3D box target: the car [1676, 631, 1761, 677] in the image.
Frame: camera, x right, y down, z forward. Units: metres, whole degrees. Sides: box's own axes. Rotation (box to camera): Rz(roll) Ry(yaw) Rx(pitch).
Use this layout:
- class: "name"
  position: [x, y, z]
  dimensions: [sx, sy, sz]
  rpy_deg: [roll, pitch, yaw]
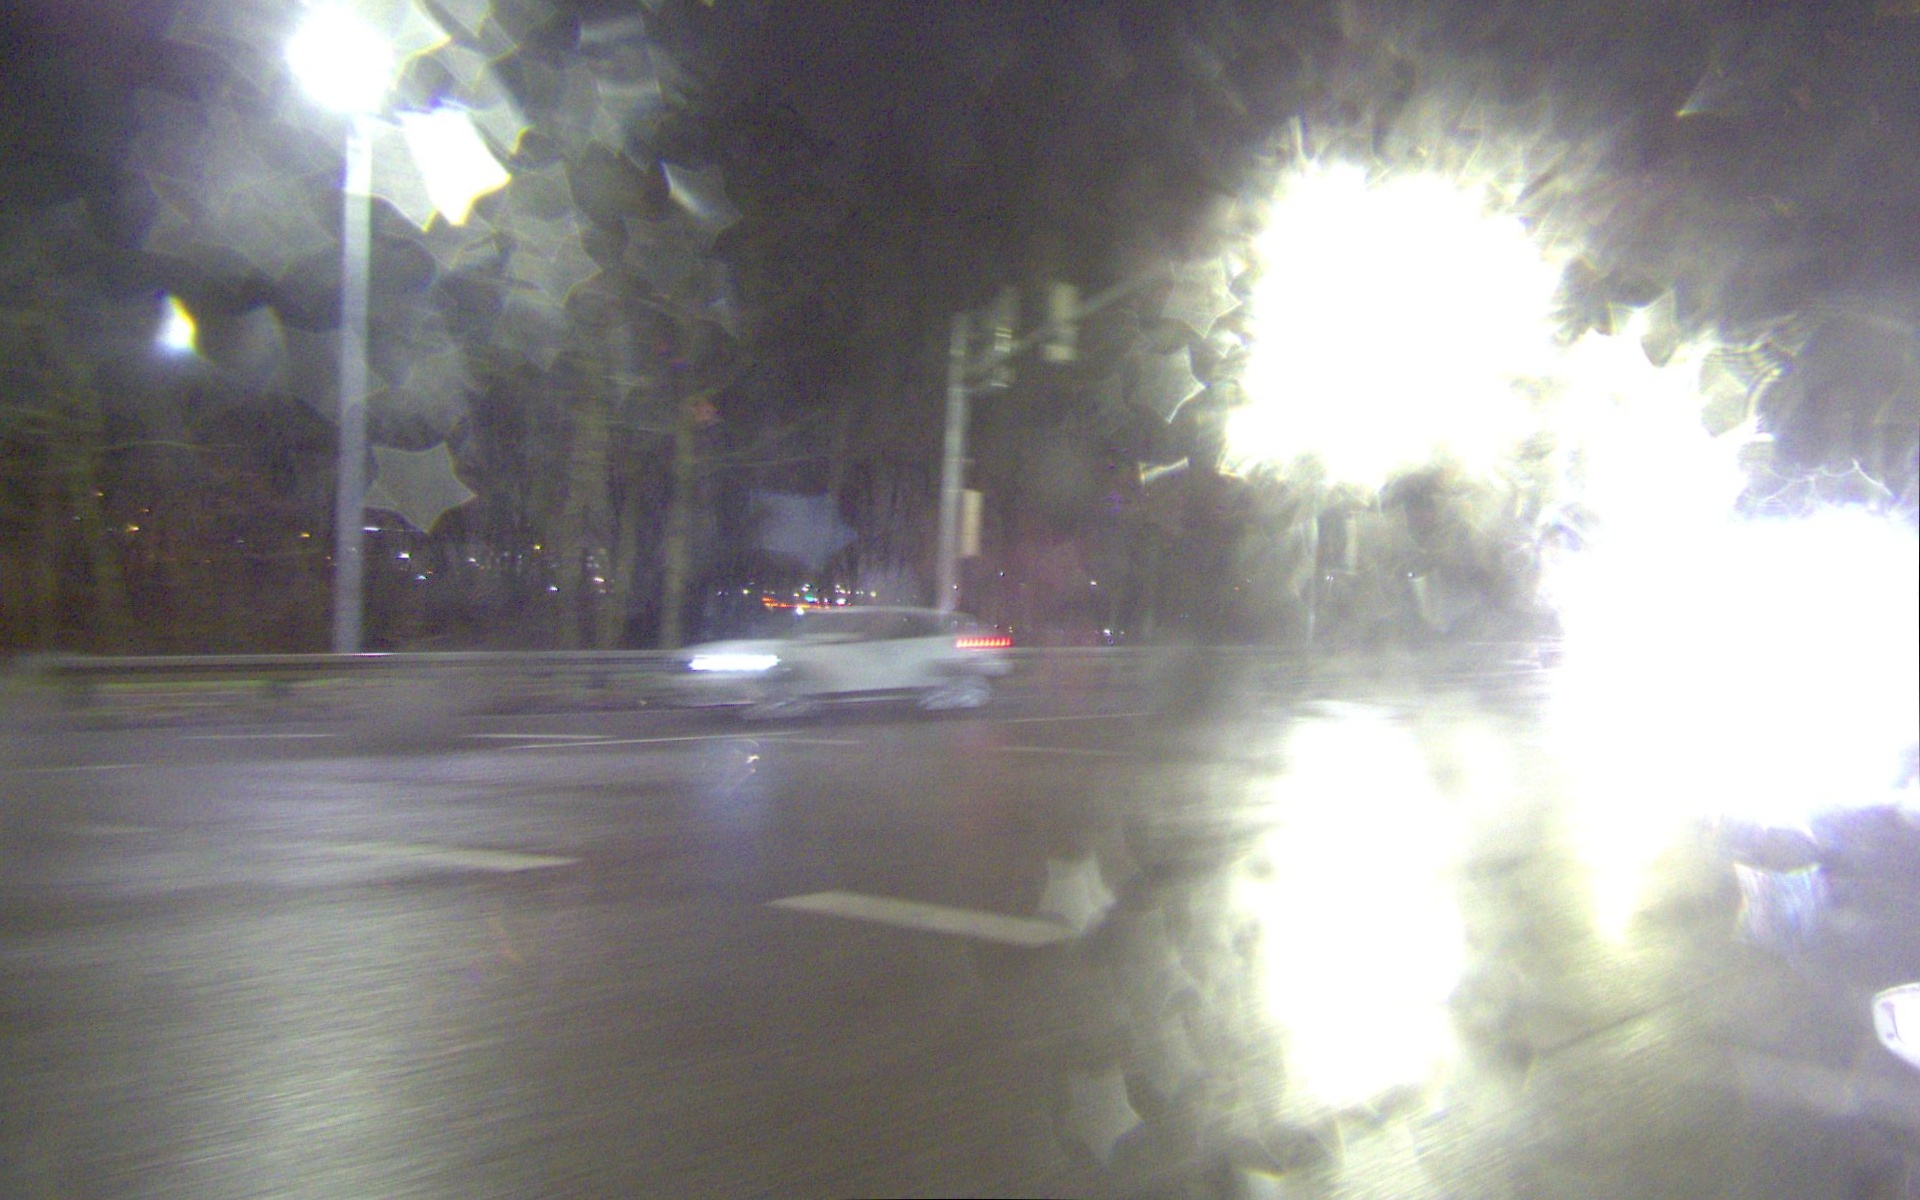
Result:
- class: "car"
  position: [27.867, 1.969, 36.845]
  dimensions: [4.630, 1.467, 1.805]
  rpy_deg: [3, 0, -44]

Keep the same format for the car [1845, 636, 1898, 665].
- class: "car"
  position: [55.825, 3.073, 61.592]
  dimensions: [1.791, 1.639, 3.988]
  rpy_deg: [3, 0, 34]

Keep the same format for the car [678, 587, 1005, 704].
- class: "car"
  position: [-1.576, 0.564, 13.818]
  dimensions: [4.098, 1.371, 1.796]
  rpy_deg: [1, 1, -33]

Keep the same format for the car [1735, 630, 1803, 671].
- class: "car"
  position: [37.001, 2.256, 45.906]
  dimensions: [4.629, 1.629, 1.862]
  rpy_deg: [1, 1, -44]

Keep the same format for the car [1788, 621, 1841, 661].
- class: "car"
  position: [47.989, 2.283, 56.486]
  dimensions: [1.968, 2.040, 4.332]
  rpy_deg: [2, 1, 37]
